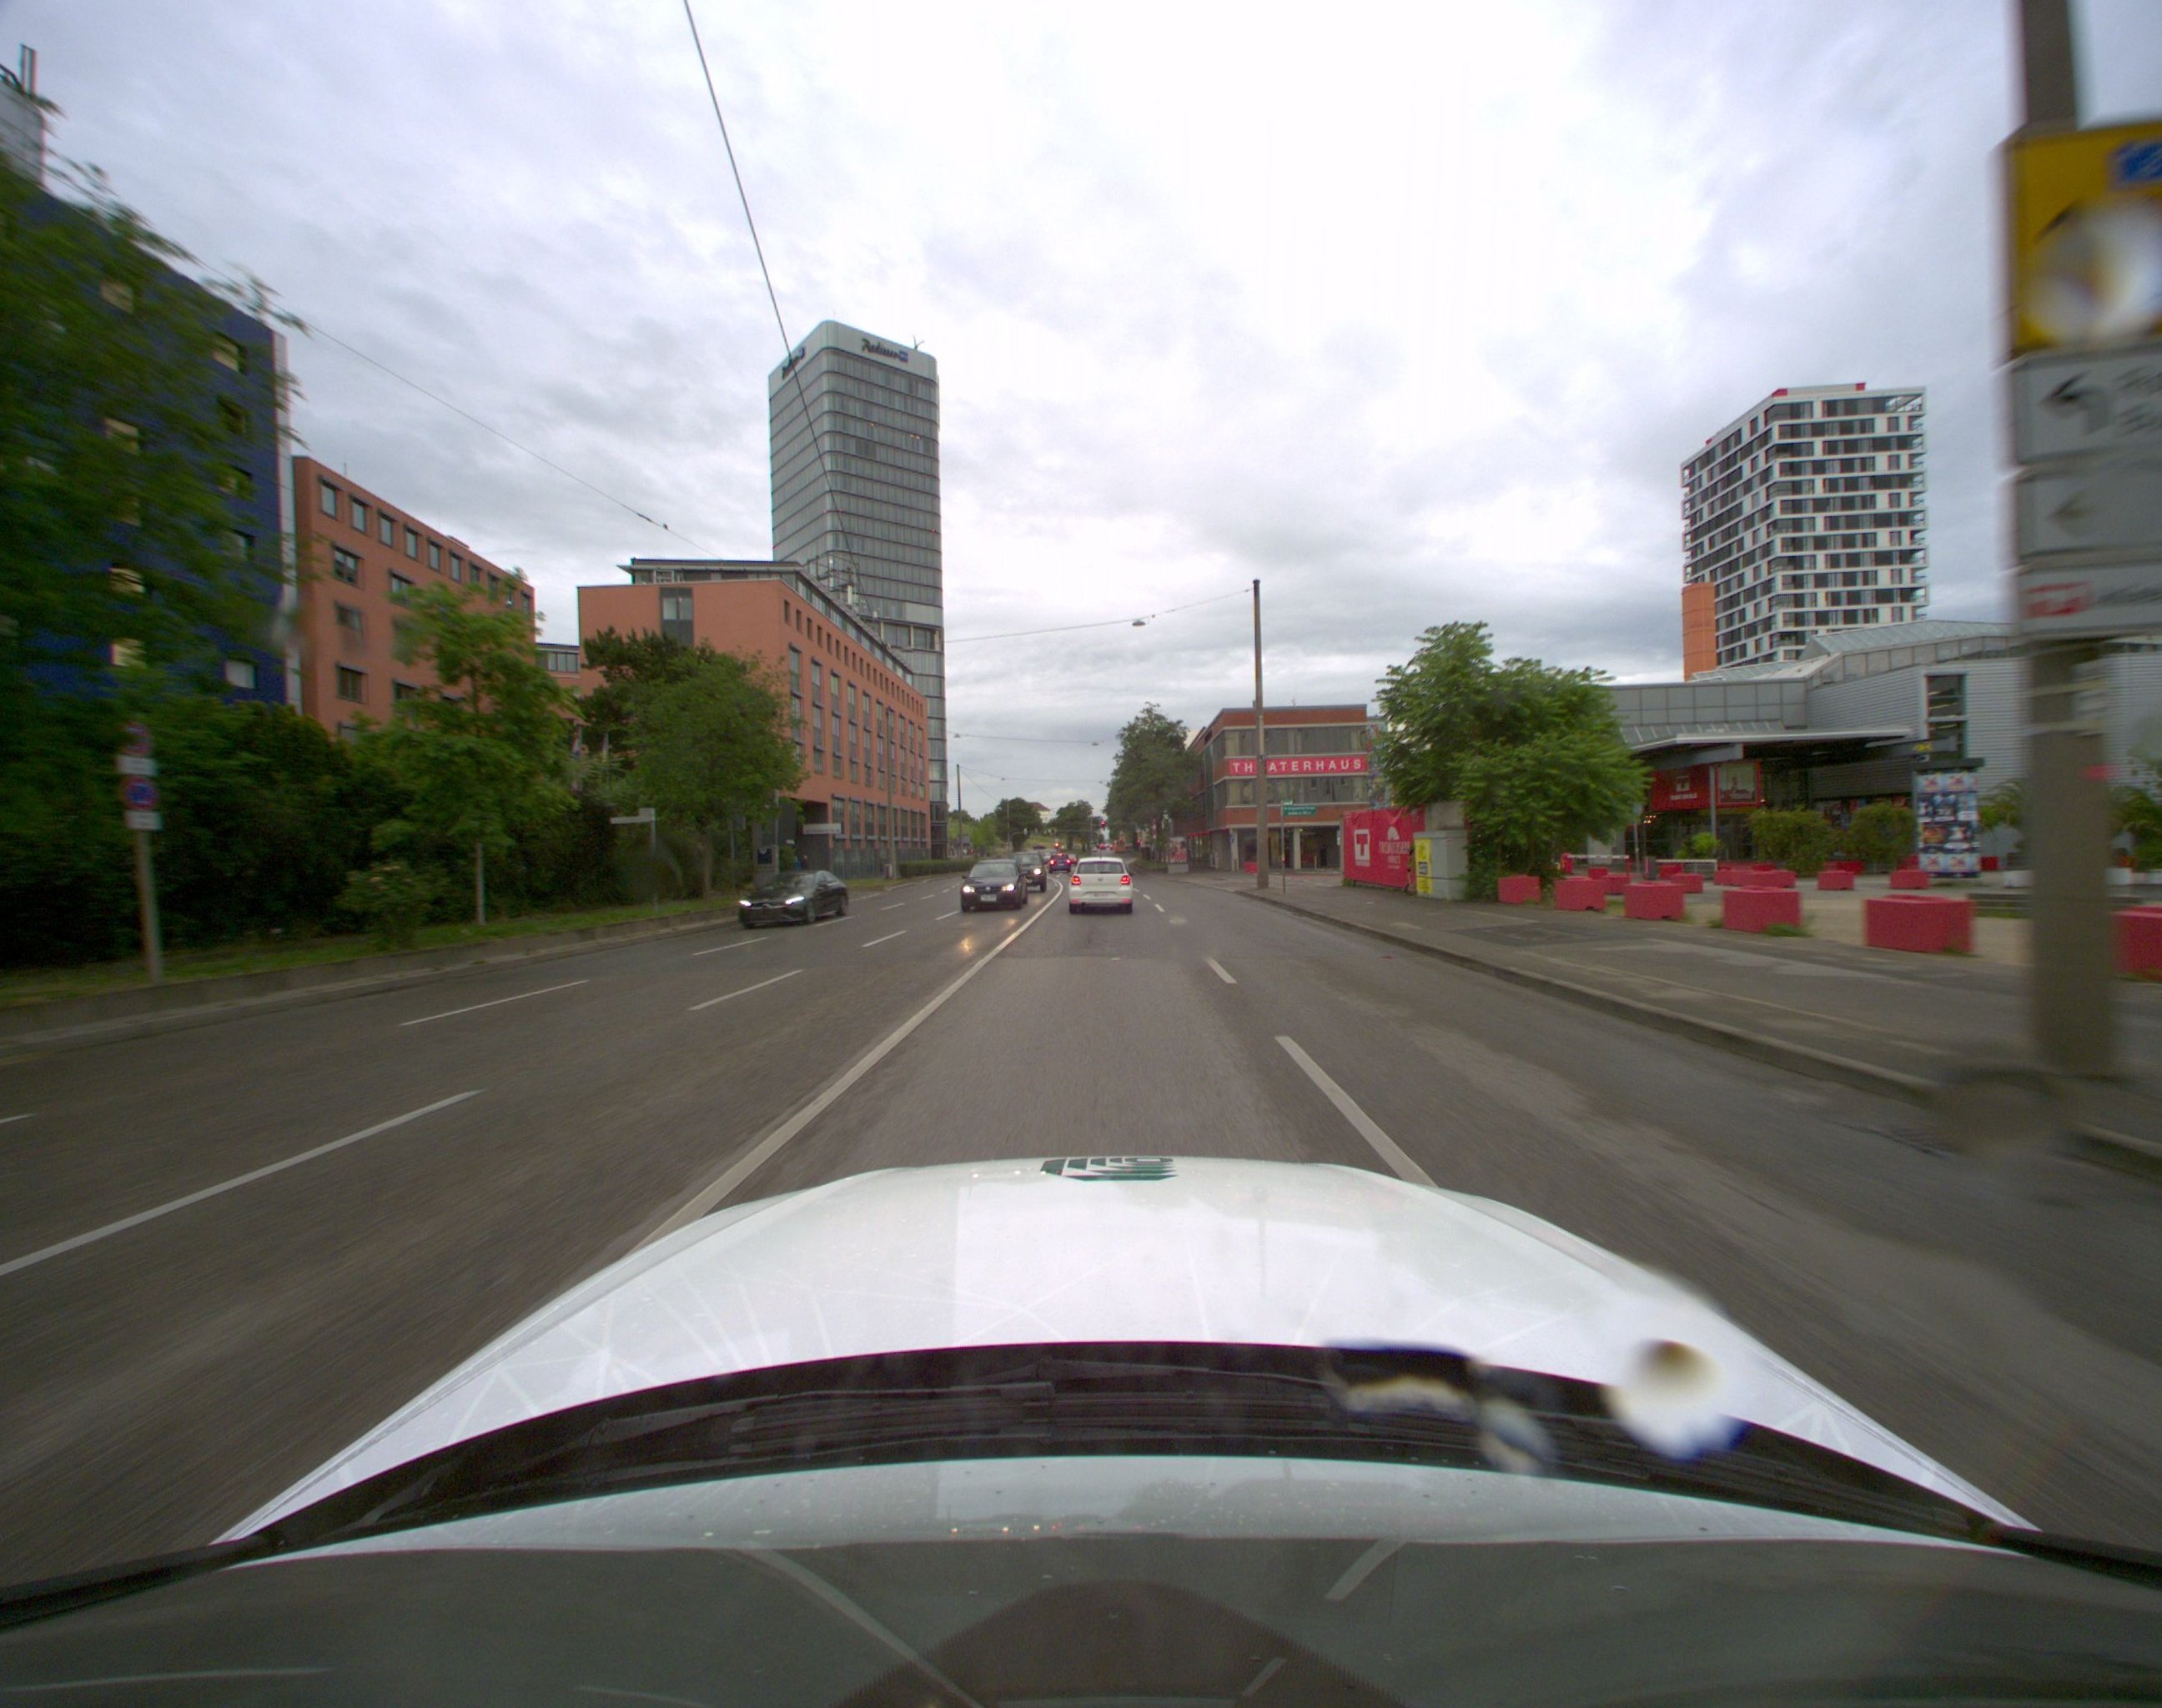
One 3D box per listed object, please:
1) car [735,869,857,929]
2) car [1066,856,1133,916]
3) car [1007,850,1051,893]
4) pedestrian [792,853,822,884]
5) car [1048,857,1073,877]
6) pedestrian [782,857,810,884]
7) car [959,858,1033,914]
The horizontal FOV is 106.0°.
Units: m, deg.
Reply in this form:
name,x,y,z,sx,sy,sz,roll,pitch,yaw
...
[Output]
name,x,y,z,sx,sy,sz,roll,pitch,yaw
car,-7.901,1.191,23.056,1.614,1.323,4.450,-3,0,3
car,0.515,0.806,22.348,1.665,1.474,3.780,-1,0,1
car,-2.192,0.713,34.769,1.497,1.666,3.421,-2,1,2
pedestrian,-17.487,0.940,52.080,1.310,1.823,1.439,-4,-2,1
car,-1.744,1.050,68.940,1.989,1.574,3.996,-1,0,-2
pedestrian,-18.332,1.072,52.442,1.202,1.679,1.420,-4,-2,2
car,-2.484,0.896,24.577,1.653,1.486,3.821,-2,0,2
